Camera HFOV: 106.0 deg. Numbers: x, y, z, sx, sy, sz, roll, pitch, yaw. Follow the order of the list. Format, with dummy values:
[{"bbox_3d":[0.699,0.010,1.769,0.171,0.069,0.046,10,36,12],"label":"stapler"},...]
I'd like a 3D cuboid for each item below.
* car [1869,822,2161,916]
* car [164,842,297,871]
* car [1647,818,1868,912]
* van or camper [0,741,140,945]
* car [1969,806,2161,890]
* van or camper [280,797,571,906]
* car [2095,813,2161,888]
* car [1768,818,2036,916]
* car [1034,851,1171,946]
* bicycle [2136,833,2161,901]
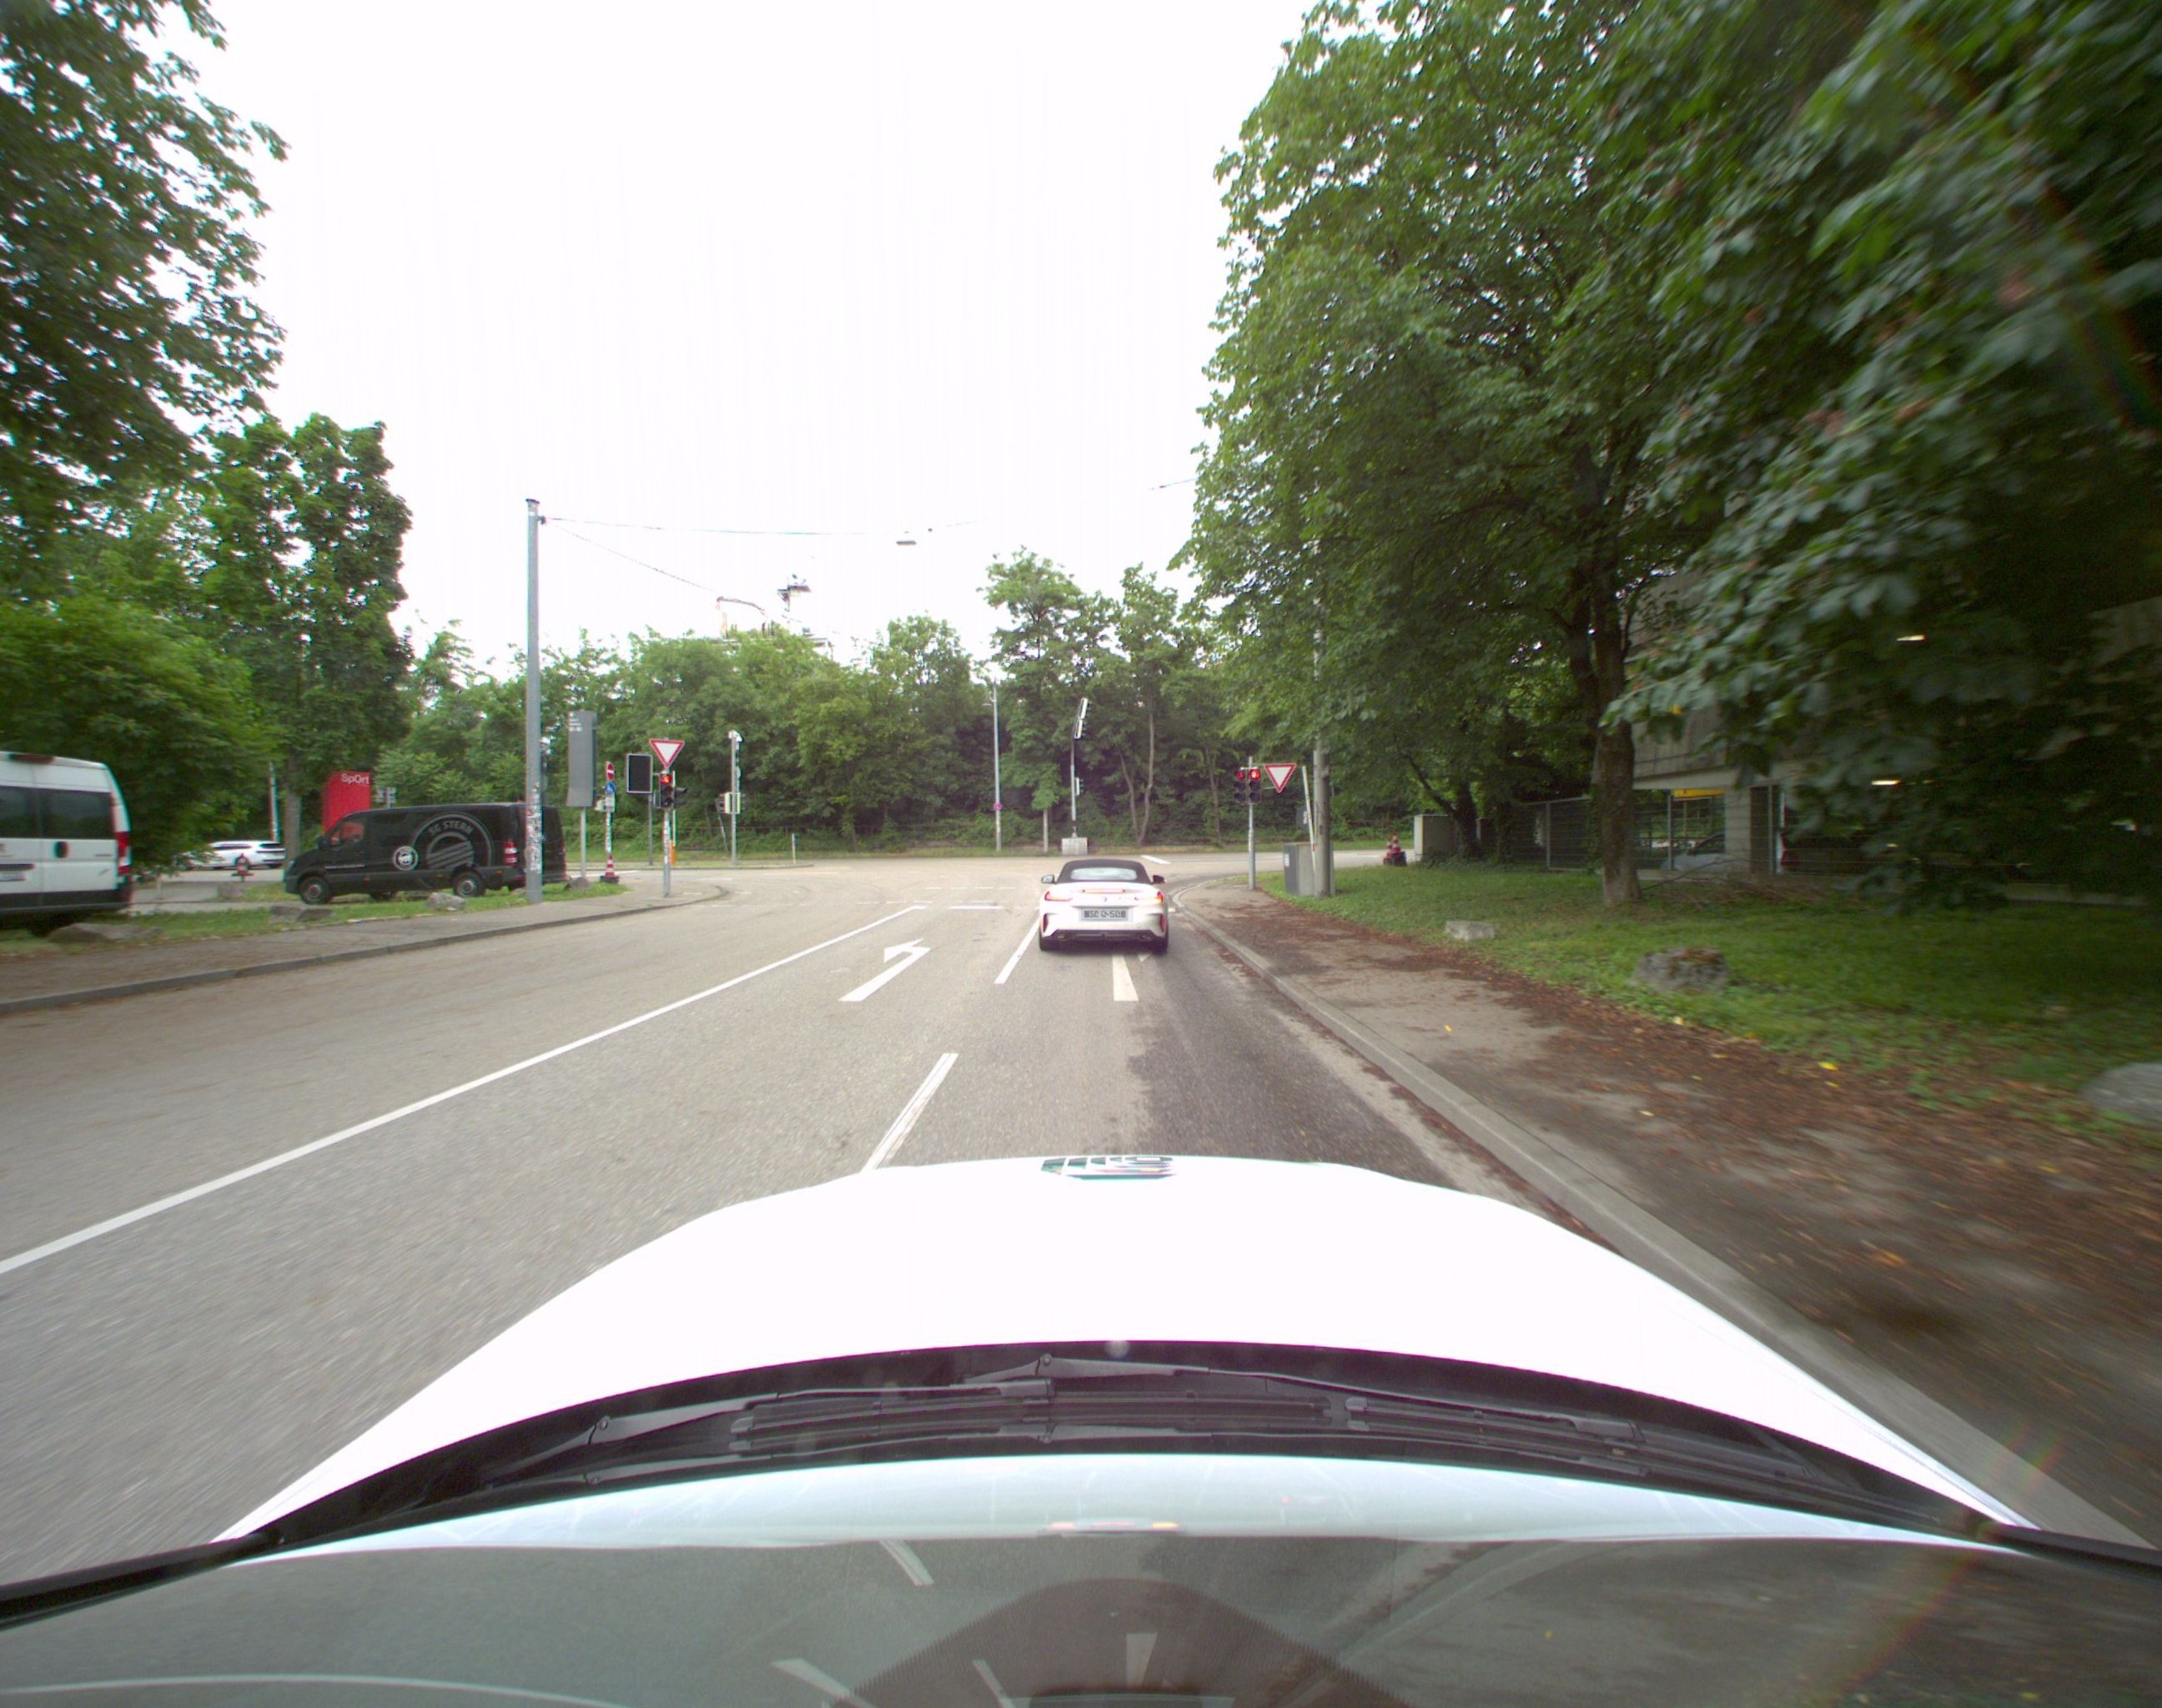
[{"bbox_3d":[18.424,0.293,16.317,1.723,1.664,3.720,0,-1,1],"label":"car"},{"bbox_3d":[-44.015,0.158,42.238,4.664,1.456,1.897,0,-1,-4],"label":"car"},{"bbox_3d":[13.595,0.233,16.672,1.475,1.708,3.720,0,-1,1],"label":"car"},{"bbox_3d":[-16.155,-0.145,10.701,4.957,2.570,2.060,0,-1,-2],"label":"van or camper"},{"bbox_3d":[21.065,-0.088,16.428,1.986,1.552,4.000,0,-1,1],"label":"car"},{"bbox_3d":[-16.018,-0.032,20.115,5.514,2.313,2.063,-2,-1,2],"label":"van or camper"},{"bbox_3d":[23.511,-0.081,16.092,1.986,1.552,4.000,0,-1,1],"label":"car"},{"bbox_3d":[15.988,0.255,16.171,1.574,1.708,3.770,0,-1,1],"label":"car"},{"bbox_3d":[0.266,0.628,12.885,1.822,1.257,3.998,0,-1,-1],"label":"car"},{"bbox_3d":[12.036,0.134,8.337,0.446,0.736,1.492,0,-1,-7],"label":"bicycle"}]
